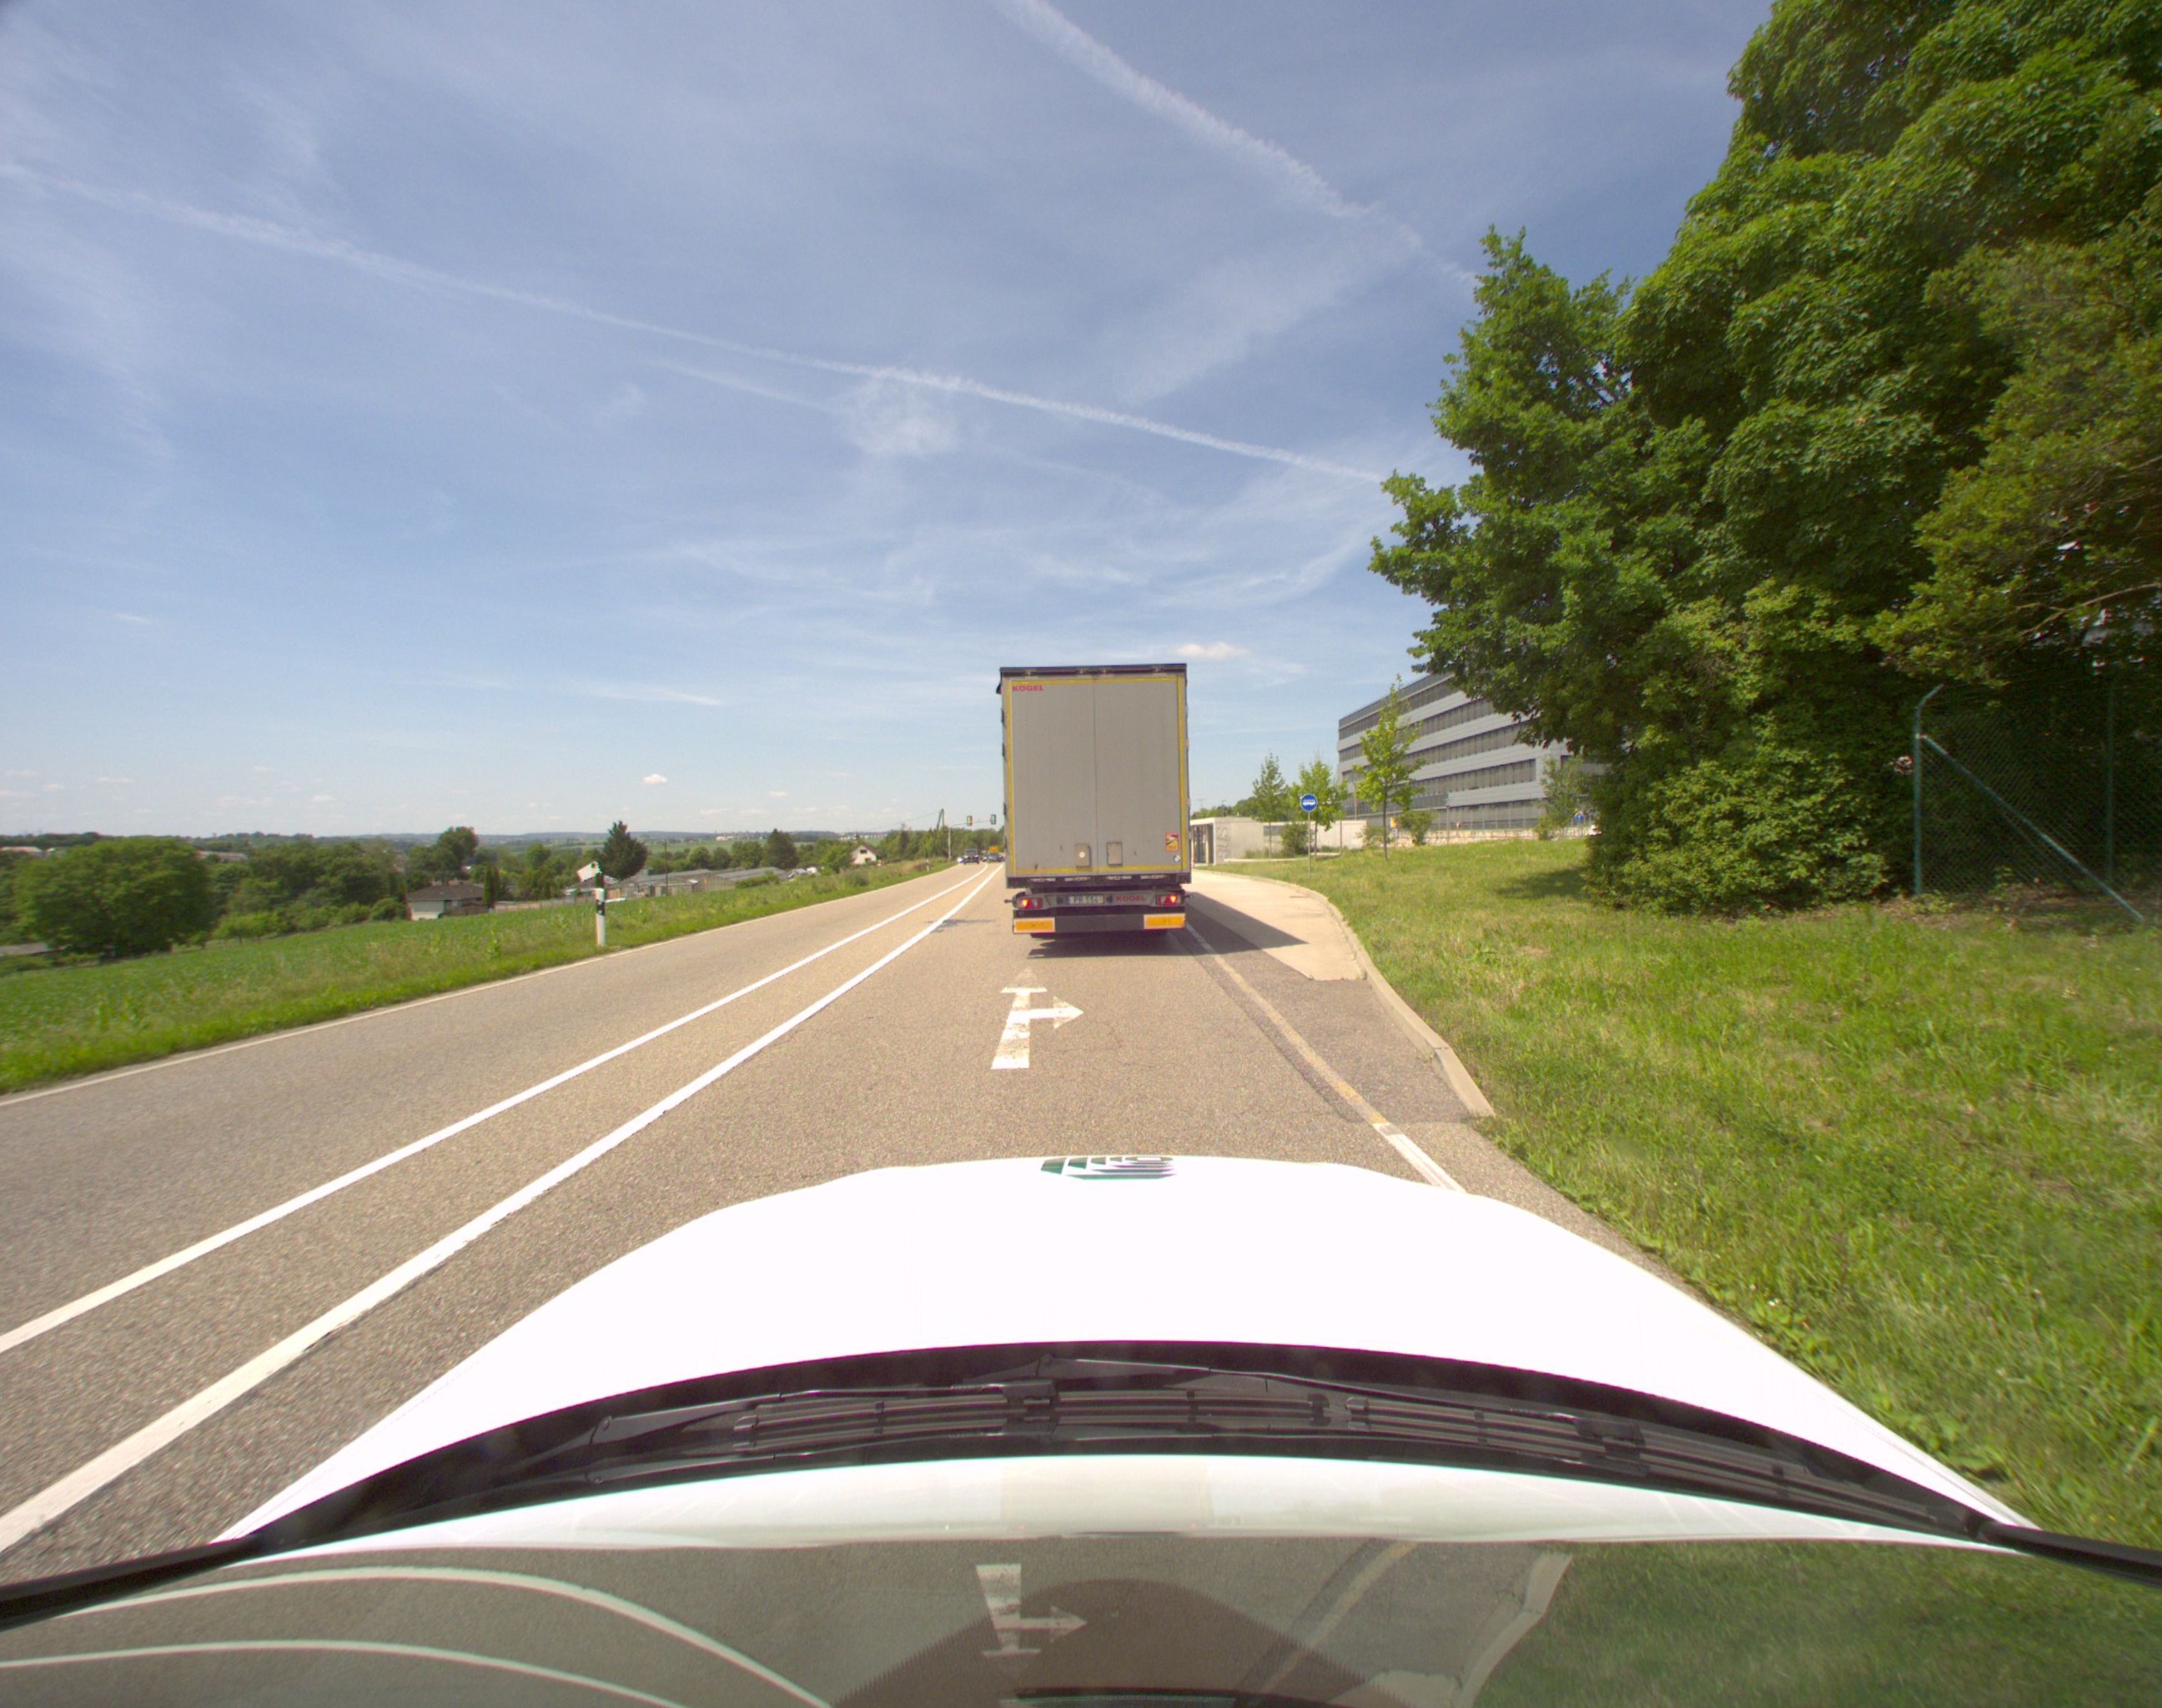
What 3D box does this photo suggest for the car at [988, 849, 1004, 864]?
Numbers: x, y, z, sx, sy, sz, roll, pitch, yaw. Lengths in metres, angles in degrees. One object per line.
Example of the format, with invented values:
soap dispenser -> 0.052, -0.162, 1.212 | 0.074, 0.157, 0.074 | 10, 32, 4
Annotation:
car -> -11.774, 0.379, 113.076 | 1.989, 1.949, 4.497 | -4, 0, -3

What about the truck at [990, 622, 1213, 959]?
truck -> 0.304, -0.881, 15.196 | 2.897, 4.409, 8.860 | -1, 0, 0

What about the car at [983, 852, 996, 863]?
car -> -15.740, 0.574, 140.458 | 1.990, 1.815, 4.290 | -4, 1, -4

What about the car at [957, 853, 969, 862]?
car -> -24.923, 0.649, 171.819 | 1.989, 1.787, 3.995 | -3, 0, -3

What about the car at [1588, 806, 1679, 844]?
car -> 32.034, -1.666, 47.284 | 3.977, 1.814, 1.755 | -5, -1, -2

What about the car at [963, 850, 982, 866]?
car -> -13.999, 0.503, 105.201 | 1.990, 1.978, 5.270 | -3, 1, -5

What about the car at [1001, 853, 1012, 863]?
car -> -16.981, 0.832, 185.388 | 2.166, 2.013, 4.522 | -3, 0, -3
